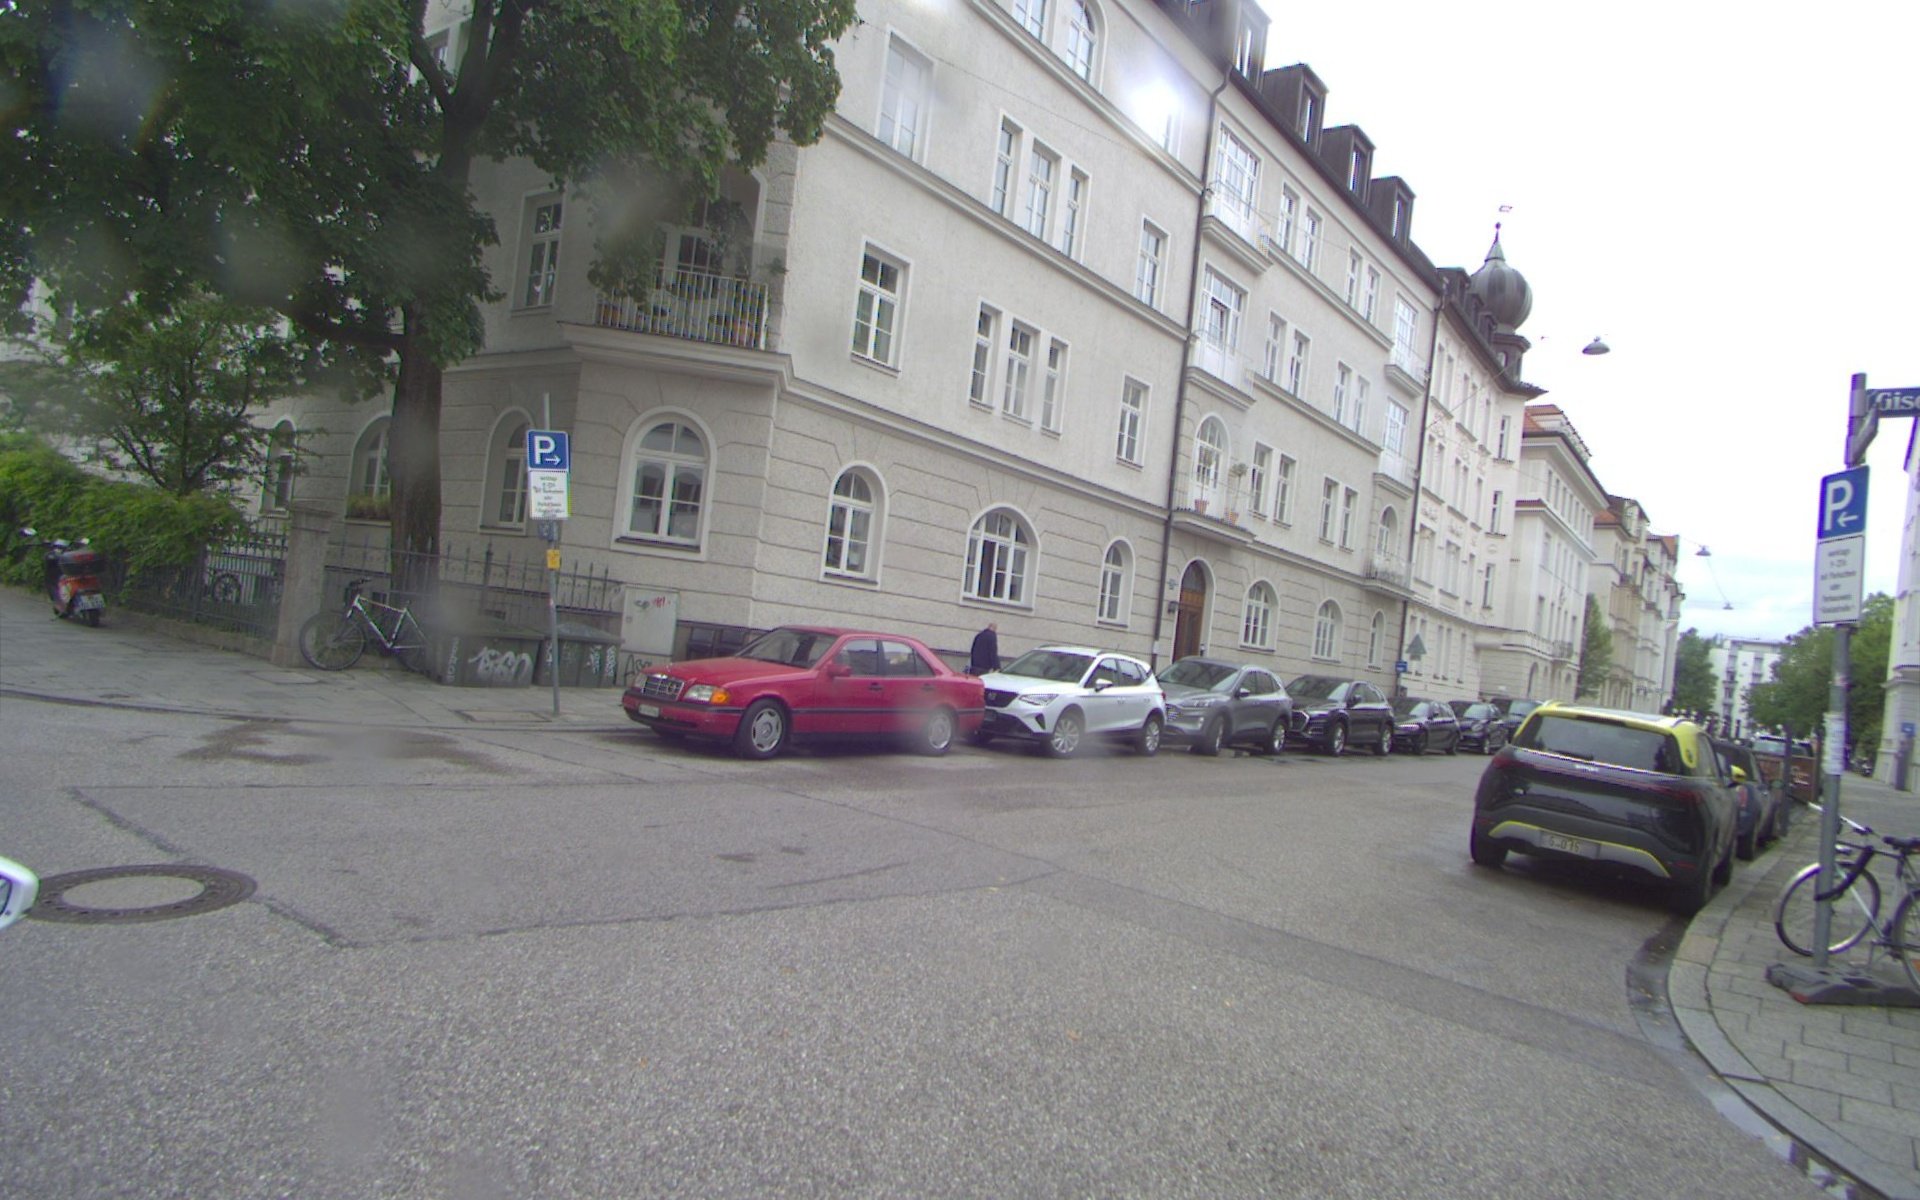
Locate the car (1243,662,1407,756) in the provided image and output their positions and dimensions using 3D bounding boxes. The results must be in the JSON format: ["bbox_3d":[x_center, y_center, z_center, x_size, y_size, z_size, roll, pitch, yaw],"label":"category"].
[{"bbox_3d":[8.154,2.445,22.254,1.864,1.682,4.275,5,-3,41],"label":"car"}]

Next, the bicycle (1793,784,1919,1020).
[{"bbox_3d":[5.599,1.762,6.063,0.728,1.082,1.601,2,-2,35],"label":"bicycle"}]

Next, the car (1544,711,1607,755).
[{"bbox_3d":[26.745,5.770,43.663,1.640,1.612,3.730,6,-2,41],"label":"car"}]

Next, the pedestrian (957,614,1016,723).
[{"bbox_3d":[0.490,1.260,18.549,0.730,1.898,0.495,6,-1,28],"label":"pedestrian"}]

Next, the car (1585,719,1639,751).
[{"bbox_3d":[33.788,6.993,52.096,1.786,1.362,3.533,5,-3,41],"label":"car"}]

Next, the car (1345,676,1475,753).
[{"bbox_3d":[12.029,3.075,26.740,1.864,1.682,4.275,5,-3,41],"label":"car"}]

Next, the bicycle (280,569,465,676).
[{"bbox_3d":[-7.312,0.303,12.602,0.555,1.137,1.835,6,-2,42],"label":"bicycle"}]

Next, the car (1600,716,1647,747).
[{"bbox_3d":[39.711,7.849,60.176,1.970,1.527,3.988,5,-3,37],"label":"car"}]

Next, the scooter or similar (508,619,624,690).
[{"bbox_3d":[-5.402,0.756,13.813,0.687,0.835,1.236,5,-3,41],"label":"scooter or similar"}]

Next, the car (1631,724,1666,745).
[{"bbox_3d":[53.265,10.391,77.827,1.970,1.293,3.989,5,-3,37],"label":"car"}]

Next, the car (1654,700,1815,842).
[{"bbox_3d":[13.589,2.920,17.557,1.751,1.992,3.914,5,-3,43],"label":"car"}]

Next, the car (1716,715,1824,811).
[{"bbox_3d":[19.110,3.778,23.668,1.719,1.833,3.984,5,-3,41],"label":"car"}]

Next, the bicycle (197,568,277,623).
[{"bbox_3d":[-13.463,-0.093,18.711,2.239,0.821,0.491,5,-2,37],"label":"bicycle"}]

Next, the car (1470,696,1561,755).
[{"bbox_3d":[19.133,4.342,34.549,1.807,1.690,4.041,5,-3,41],"label":"car"}]

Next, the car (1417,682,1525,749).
[{"bbox_3d":[15.830,3.597,31.043,1.864,1.682,4.275,5,-3,41],"label":"car"}]

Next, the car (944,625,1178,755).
[{"bbox_3d":[1.624,1.362,14.908,1.542,1.539,3.887,6,-2,37],"label":"car"}]

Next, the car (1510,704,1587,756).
[{"bbox_3d":[23.113,5.104,39.443,1.830,1.676,3.917,5,-3,40],"label":"car"}]

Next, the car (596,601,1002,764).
[{"bbox_3d":[-1.603,0.979,11.510,1.735,1.374,4.465,6,-2,39],"label":"car"}]

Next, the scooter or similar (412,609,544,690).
[{"bbox_3d":[-6.137,0.634,12.825,0.912,0.858,1.182,5,-3,42],"label":"scooter or similar"}]

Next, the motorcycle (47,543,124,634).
[{"bbox_3d":[-11.840,-0.164,13.615,1.381,1.103,0.362,5,-2,35],"label":"motorcycle"}]

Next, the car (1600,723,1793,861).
[{"bbox_3d":[10.404,2.614,14.121,1.679,1.442,3.523,5,-3,43],"label":"car"}]

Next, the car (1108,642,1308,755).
[{"bbox_3d":[4.742,1.859,18.802,1.728,1.731,4.323,5,-2,41],"label":"car"}]

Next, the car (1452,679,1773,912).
[{"bbox_3d":[6.616,1.810,9.992,1.881,1.615,4.068,5,-3,43],"label":"car"}]

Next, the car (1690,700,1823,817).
[{"bbox_3d":[16.284,3.188,20.501,1.708,1.957,3.643,5,-3,43],"label":"car"}]
